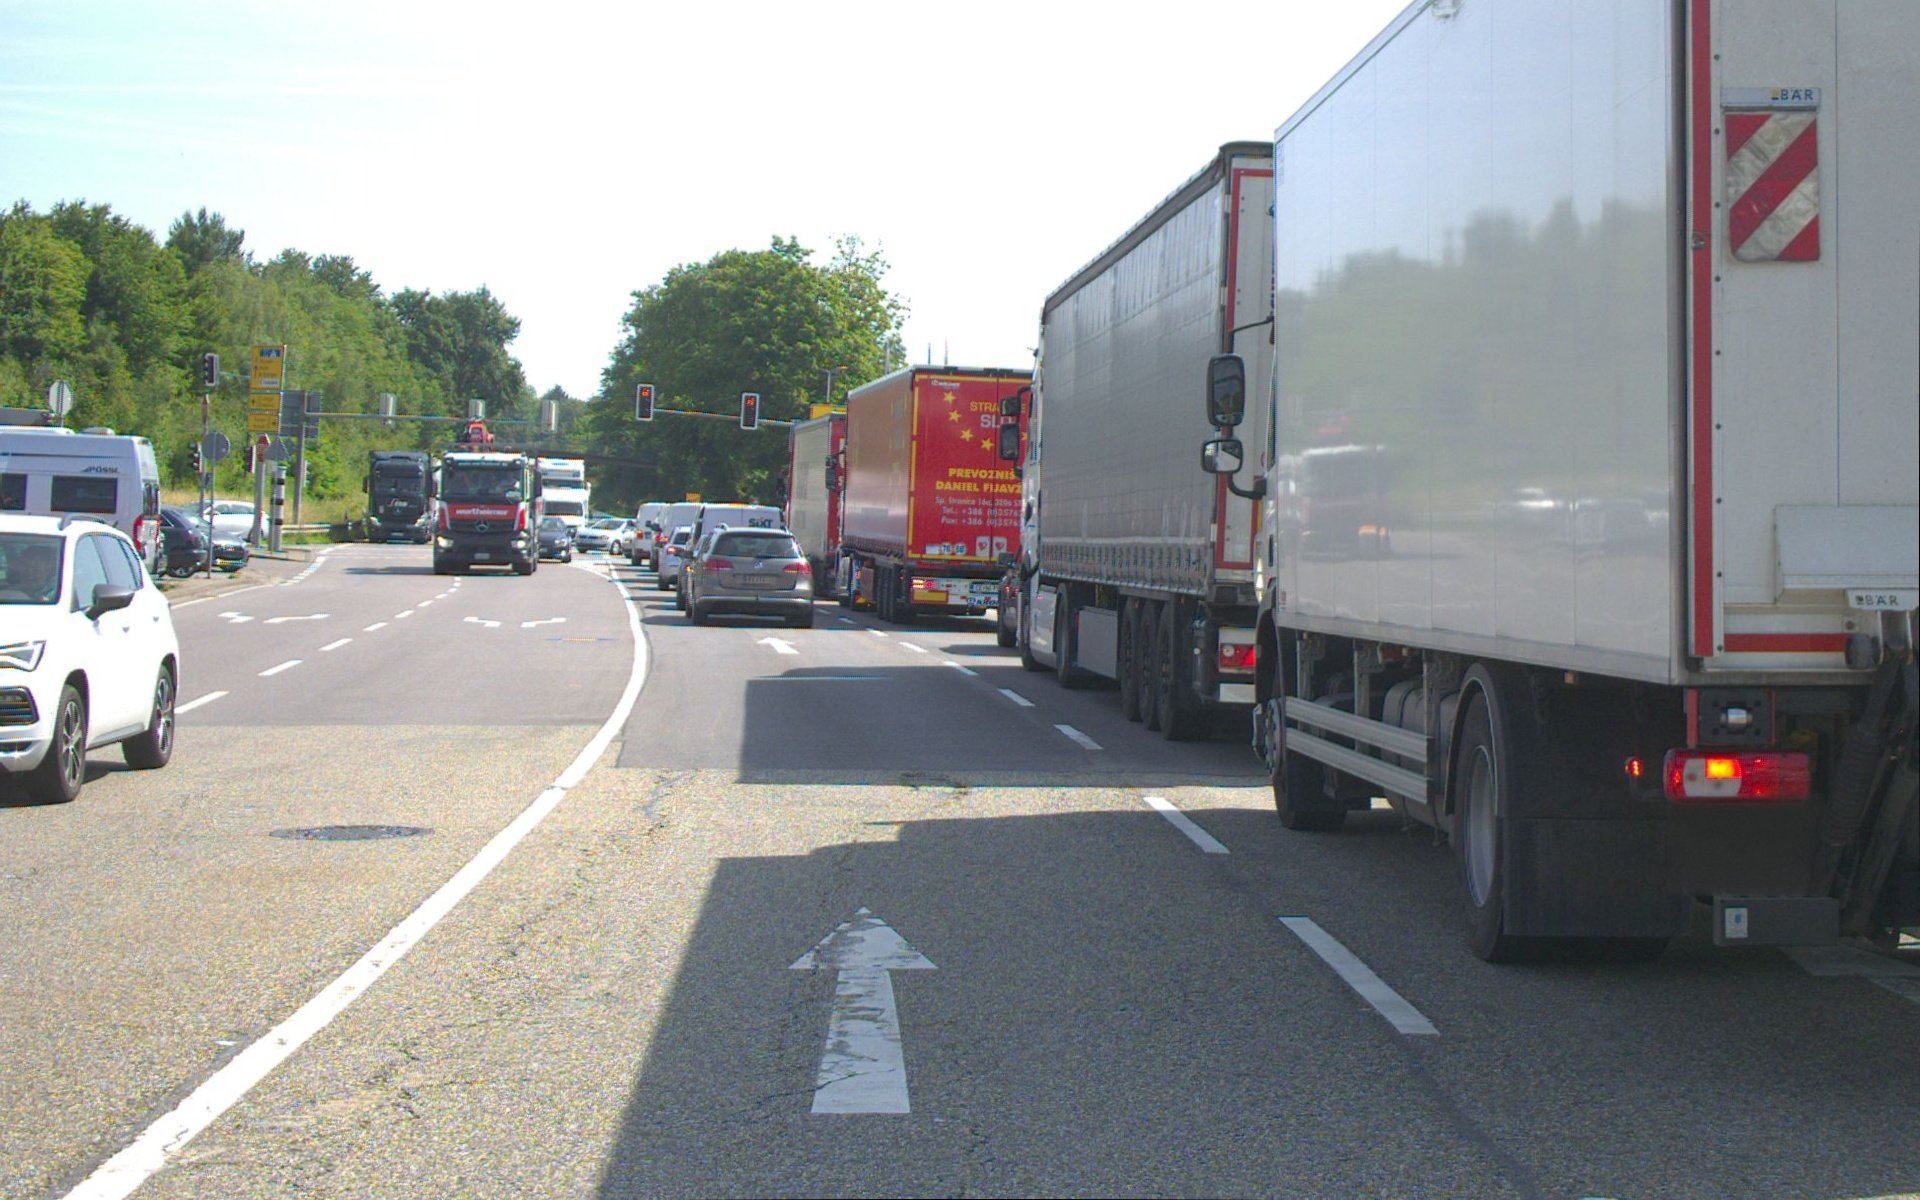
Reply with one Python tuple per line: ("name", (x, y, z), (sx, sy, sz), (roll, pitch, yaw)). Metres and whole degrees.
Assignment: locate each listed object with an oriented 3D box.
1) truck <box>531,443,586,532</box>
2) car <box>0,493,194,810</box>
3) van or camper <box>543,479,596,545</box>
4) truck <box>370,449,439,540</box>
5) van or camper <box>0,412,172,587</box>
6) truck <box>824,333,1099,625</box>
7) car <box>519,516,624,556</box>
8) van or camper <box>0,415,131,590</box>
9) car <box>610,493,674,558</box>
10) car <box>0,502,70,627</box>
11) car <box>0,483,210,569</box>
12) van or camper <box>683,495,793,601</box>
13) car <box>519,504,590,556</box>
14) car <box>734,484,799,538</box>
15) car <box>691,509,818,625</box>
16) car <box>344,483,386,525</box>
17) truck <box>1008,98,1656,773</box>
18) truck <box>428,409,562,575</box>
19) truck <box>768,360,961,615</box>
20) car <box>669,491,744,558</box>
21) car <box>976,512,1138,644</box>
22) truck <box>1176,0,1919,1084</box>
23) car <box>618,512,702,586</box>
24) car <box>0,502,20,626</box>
("truck", (-19.990, -5.592, 171.339), (2.552, 4.292, 7.597), (1, 1, -6))
("car", (-5.799, 0.227, 20.046), (1.935, 1.668, 4.001), (0, 1, -3))
("van or camper", (-17.842, -3.987, 157.125), (2.223, 2.831, 5.712), (3, 0, -6))
("truck", (-23.857, -4.517, 147.489), (2.812, 3.773, 6.992), (0, 2, -10))
("van or camper", (-15.785, -1.694, 56.314), (5.244, 2.722, 2.211), (2, 1, -4))
("truck", (-0.301, -2.026, 59.784), (2.956, 4.255, 16.588), (2, 1, -6))
("car", (-14.880, -2.442, 131.859), (1.715, 1.443, 4.072), (3, 2, 35))
("van or camper", (-17.355, -1.758, 58.617), (5.891, 2.863, 2.290), (2, 2, -5))
("car", (-9.811, -2.281, 106.161), (1.726, 1.902, 3.312), (3, 0, -3))
("car", (-13.825, -0.644, 43.906), (4.458, 1.479, 1.772), (6, 1, -7))
("car", (-16.547, -1.426, 66.433), (3.816, 1.534, 1.843), (2, 1, -6))
("van or camper", (-4.263, -1.015, 65.642), (1.852, 1.899, 3.785), (2, 1, -6))
("car", (-12.716, -2.209, 107.950), (1.806, 1.554, 4.388), (1, 1, -2))
("car", (-5.910, -2.692, 104.551), (1.726, 1.514, 3.313), (3, 0, -6))
("car", (-3.037, -0.513, 51.381), (1.790, 1.633, 3.504), (1, 1, -2))
("car", (-30.615, -4.917, 176.744), (1.993, 2.007, 4.001), (2, 0, -10))
("truck", (2.518, -1.233, 30.526), (2.890, 4.251, 16.712), (2, 1, -3))
("truck", (-12.396, -2.882, 92.411), (2.956, 4.194, 10.649), (0, 1, -4))
("truck", (-2.463, -2.569, 80.280), (3.062, 5.202, 17.011), (2, 1, -6))
("car", (-6.175, -1.821, 83.887), (1.726, 1.514, 3.313), (3, 0, -4))
("car", (1.277, -0.337, 46.963), (1.818, 1.679, 4.001), (1, 1, -3))
("truck", (2.991, -0.707, 14.713), (2.879, 3.798, 11.143), (2, 1, -2))
("car", (-6.576, -1.107, 75.140), (1.726, 1.514, 3.313), (3, 0, -5))
("car", (-13.619, -0.630, 41.034), (4.297, 1.479, 1.799), (6, 1, -7))
